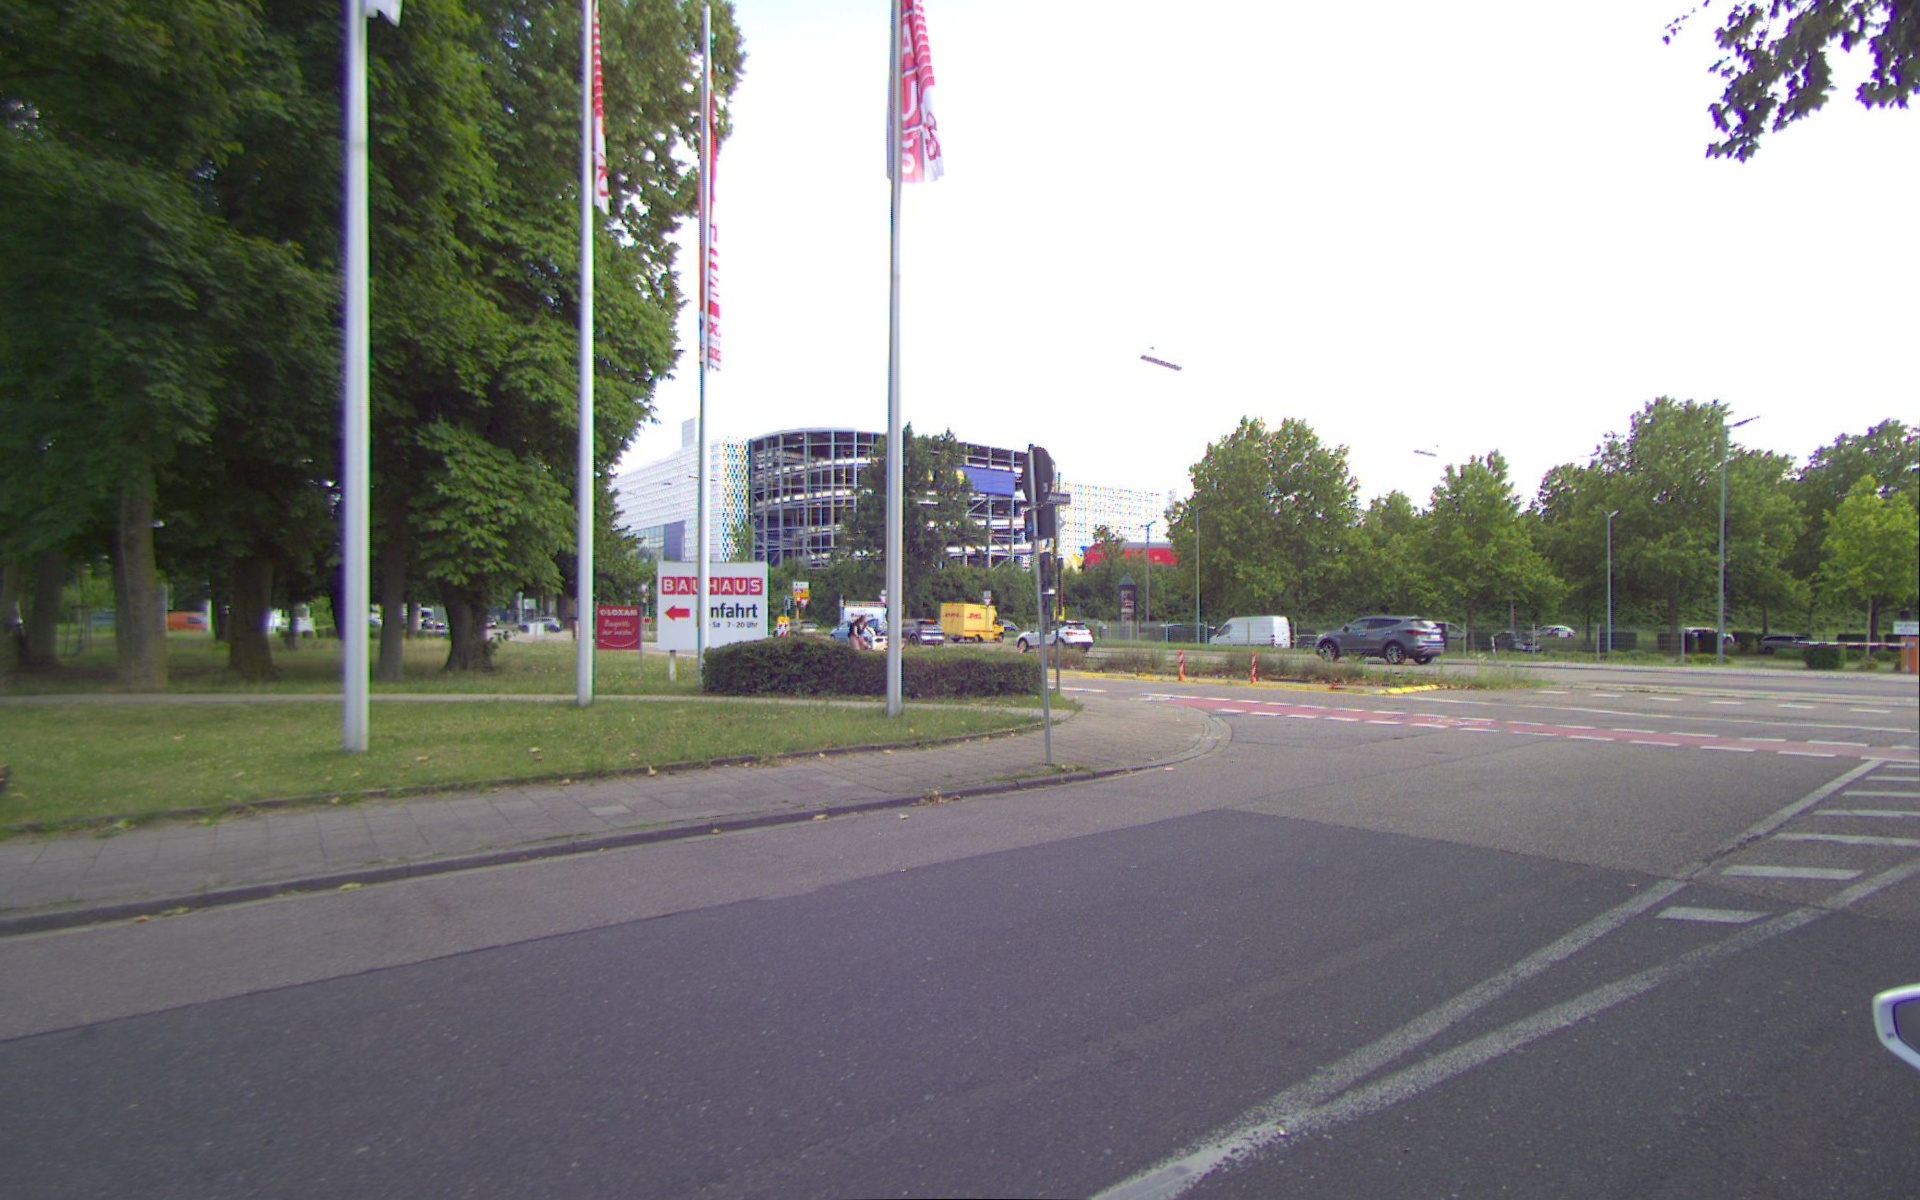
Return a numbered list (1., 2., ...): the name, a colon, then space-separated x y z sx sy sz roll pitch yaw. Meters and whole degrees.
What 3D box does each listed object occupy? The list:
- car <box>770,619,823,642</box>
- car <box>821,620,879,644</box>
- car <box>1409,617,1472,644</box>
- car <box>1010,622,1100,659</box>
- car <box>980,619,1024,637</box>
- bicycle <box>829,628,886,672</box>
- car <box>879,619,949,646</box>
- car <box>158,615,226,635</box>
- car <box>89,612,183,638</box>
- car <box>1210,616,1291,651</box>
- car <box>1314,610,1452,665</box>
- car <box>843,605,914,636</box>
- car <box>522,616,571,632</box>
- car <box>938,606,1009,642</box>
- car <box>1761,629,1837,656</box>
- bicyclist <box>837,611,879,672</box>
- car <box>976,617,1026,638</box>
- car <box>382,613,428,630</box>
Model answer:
1. car: -10.934 2.010 66.965 1.782 1.424 3.986 0 -1 -38
2. car: -6.895 1.982 62.490 1.782 1.424 3.986 0 -1 -38
3. car: 40.582 2.560 84.928 4.483 2.164 1.860 1 -1 -5
4. car: 4.442 1.882 47.527 1.907 1.600 4.187 0 -1 -38
5. car: 3.854 2.581 91.783 3.921 1.577 1.874 1 -1 -1
6. bicycle: -2.938 1.420 28.645 0.724 1.181 1.794 -1 -1 -40
7. car: -2.629 1.818 56.706 1.907 1.424 4.187 0 -1 -38
8. car: -61.744 2.001 80.836 3.923 1.532 1.919 1 -1 -4
9. car: -68.525 2.072 83.621 5.795 2.104 2.211 1 -1 -3
10. car: 19.688 2.246 68.303 1.783 2.240 5.242 1 -1 -40
11. car: 15.096 1.294 36.025 1.948 1.839 4.235 0 -1 -34
12. car: -6.748 1.730 83.651 5.795 2.475 2.211 1 -1 -3
13. car: -38.913 2.261 94.567 3.835 1.523 1.874 1 -1 -4
14. car: 1.085 1.826 75.622 2.170 2.612 6.383 0 -1 35
15. car: 59.283 2.985 71.047 1.873 1.724 3.997 1 -1 -5
16. bicyclist: -2.904 1.170 28.589 0.728 1.670 0.998 -1 -1 -41
17. car: 3.638 2.416 89.569 4.299 1.814 1.919 1 -1 -4
18. car: -60.270 2.305 109.111 3.921 1.808 1.892 0 -1 -1
